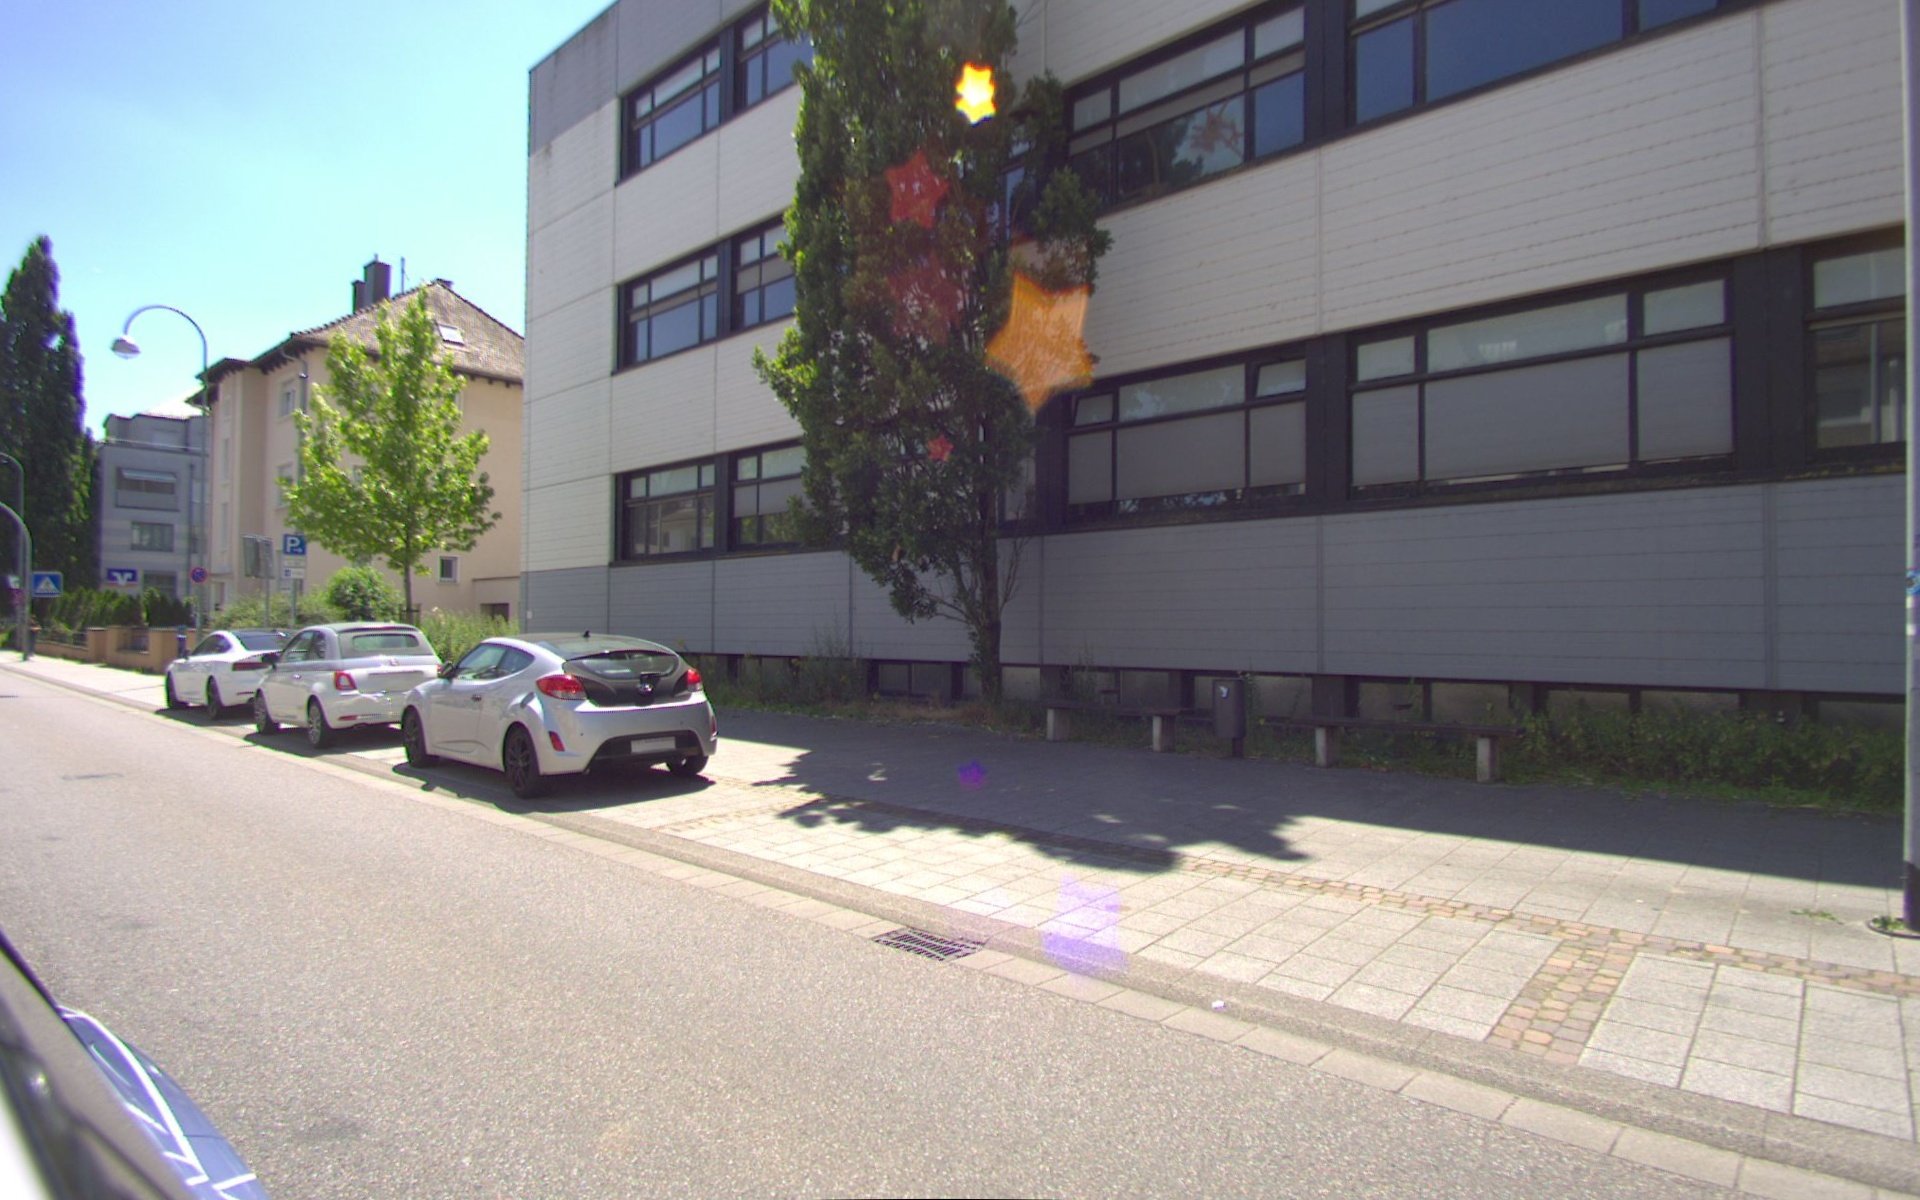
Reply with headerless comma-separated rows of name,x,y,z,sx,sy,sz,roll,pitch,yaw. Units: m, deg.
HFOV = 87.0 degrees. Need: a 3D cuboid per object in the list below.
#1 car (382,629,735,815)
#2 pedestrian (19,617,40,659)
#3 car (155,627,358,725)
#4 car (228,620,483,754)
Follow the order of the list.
car,-4.106,1.026,10.042,3.933,1.420,1.729,-1,0,43
pedestrian,-38.454,1.570,41.830,0.708,1.698,0.531,-1,-2,41
car,-11.972,1.177,17.099,4.576,1.422,1.803,-1,-2,42
car,-8.321,1.049,13.773,4.288,1.523,1.803,-1,-1,42
